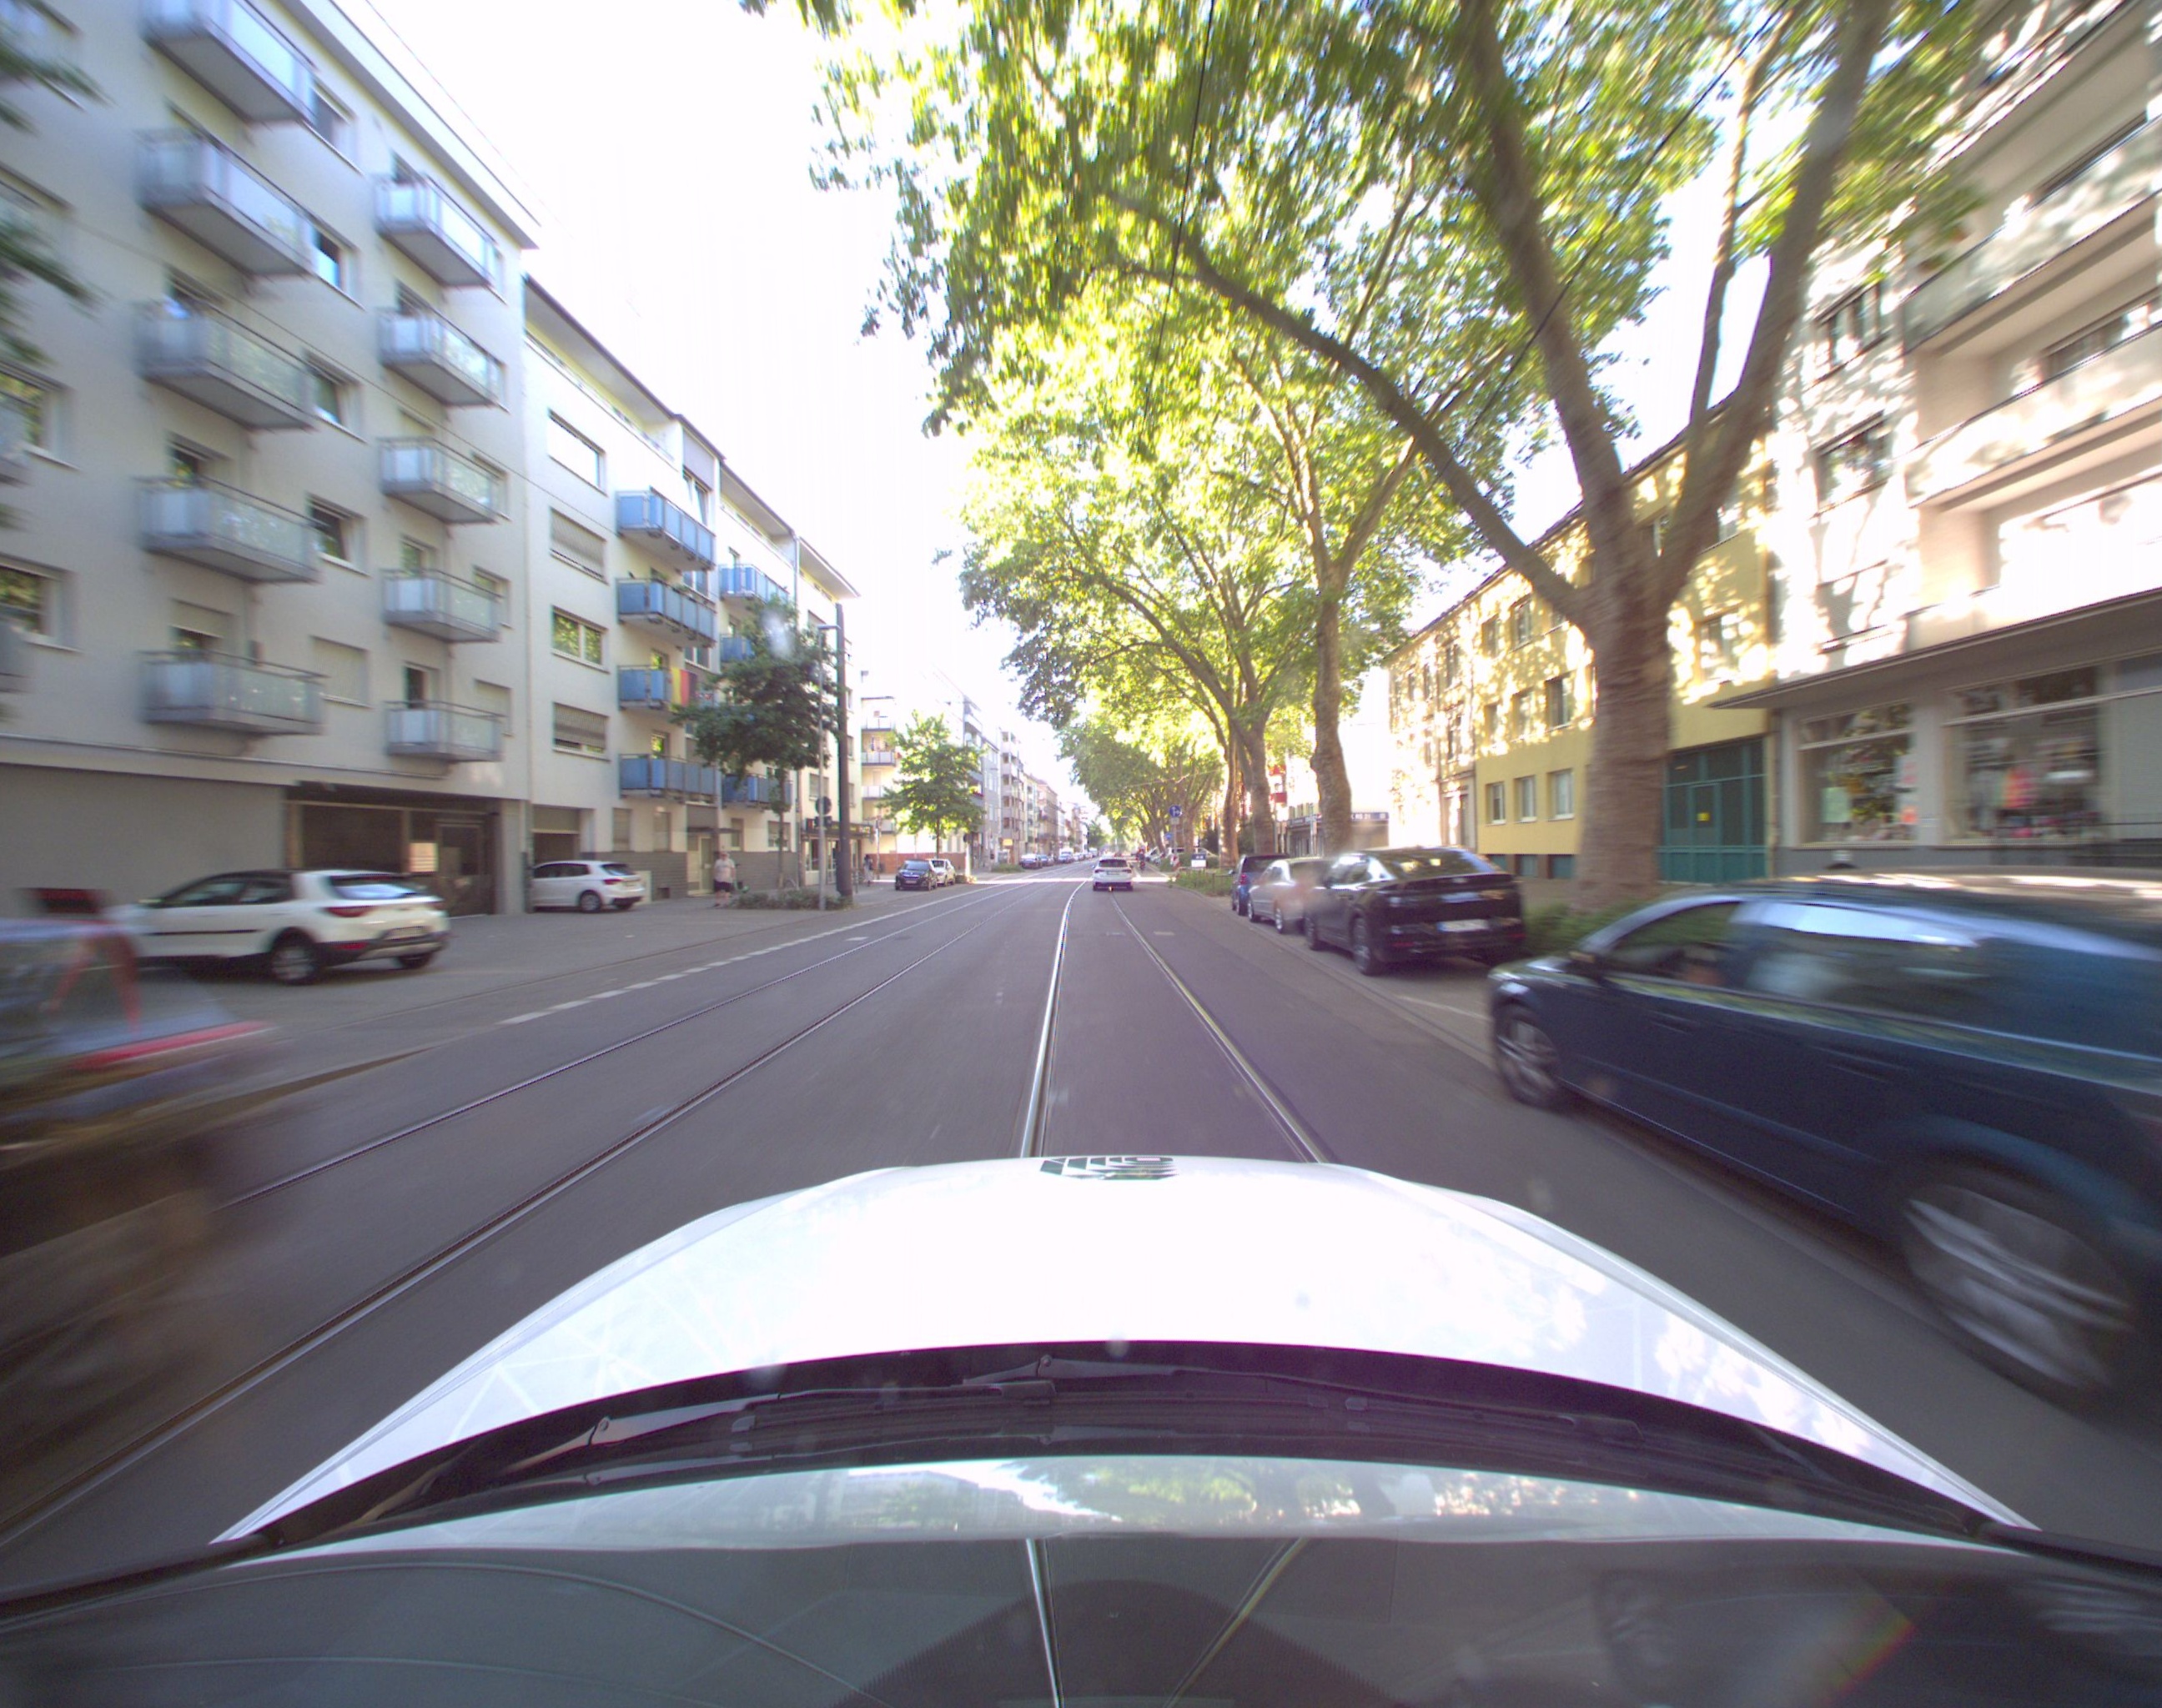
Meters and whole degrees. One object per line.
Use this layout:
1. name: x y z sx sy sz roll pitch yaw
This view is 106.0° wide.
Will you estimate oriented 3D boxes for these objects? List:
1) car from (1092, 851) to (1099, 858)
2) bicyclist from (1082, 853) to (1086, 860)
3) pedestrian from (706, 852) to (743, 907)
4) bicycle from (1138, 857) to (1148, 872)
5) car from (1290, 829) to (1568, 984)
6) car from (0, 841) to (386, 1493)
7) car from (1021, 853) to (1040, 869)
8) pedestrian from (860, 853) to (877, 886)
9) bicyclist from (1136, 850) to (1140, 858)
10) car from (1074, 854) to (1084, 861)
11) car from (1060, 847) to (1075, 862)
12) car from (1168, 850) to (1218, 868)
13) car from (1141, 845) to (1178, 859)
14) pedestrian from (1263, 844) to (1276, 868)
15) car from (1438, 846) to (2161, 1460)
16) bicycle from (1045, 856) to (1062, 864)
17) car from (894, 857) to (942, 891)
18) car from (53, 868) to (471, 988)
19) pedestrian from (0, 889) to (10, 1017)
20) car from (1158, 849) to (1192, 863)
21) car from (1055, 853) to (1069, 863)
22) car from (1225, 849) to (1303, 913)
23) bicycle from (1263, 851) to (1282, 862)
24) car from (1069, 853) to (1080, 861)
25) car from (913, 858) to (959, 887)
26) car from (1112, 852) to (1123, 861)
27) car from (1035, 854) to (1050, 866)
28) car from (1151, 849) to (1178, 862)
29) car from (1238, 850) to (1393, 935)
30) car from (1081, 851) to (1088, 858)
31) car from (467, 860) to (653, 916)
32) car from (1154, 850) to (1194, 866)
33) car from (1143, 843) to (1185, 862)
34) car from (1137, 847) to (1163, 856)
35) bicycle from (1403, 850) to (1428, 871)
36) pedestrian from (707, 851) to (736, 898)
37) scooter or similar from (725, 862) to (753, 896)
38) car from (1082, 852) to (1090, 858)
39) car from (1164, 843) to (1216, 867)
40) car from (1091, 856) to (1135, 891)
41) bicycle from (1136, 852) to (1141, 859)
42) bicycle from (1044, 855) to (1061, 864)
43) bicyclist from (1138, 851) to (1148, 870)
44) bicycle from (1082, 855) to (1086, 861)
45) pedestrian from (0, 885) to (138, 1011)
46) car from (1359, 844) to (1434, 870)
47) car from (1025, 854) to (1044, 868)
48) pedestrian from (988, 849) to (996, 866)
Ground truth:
1. car: 4.398 0.108 248.890 1.985 2.013 4.003 -1 0 3
2. bicyclist: 0.593 0.433 156.425 0.595 1.286 0.917 -2 0 0
3. pedestrian: -11.193 0.783 25.609 0.761 1.691 0.795 -1 0 1
4. bicycle: 4.762 0.783 62.586 0.678 1.071 1.782 -2 0 4
5. car: 4.392 0.606 11.253 1.851 1.603 4.783 -3 -1 1
6. car: -3.583 0.817 1.000 1.866 1.590 4.144 -3 0 -1
7. car: -5.485 0.754 88.472 1.696 1.650 4.243 1 0 1
8. pedestrian: -10.954 0.781 42.030 0.661 1.691 0.749 -1 0 1
9. bicyclist: 8.844 -0.010 126.144 0.647 1.344 0.934 -2 0 1
10. car: -0.484 0.703 179.358 1.985 1.530 4.003 -1 0 3
11. car: -2.374 0.122 145.092 2.169 2.597 4.953 -1 0 3
12. car: 10.016 0.431 73.284 4.281 1.479 1.831 -1 0 1
13. car: 13.580 -0.314 141.438 6.108 2.282 2.530 -1 0 1
14. pedestrian: 15.453 0.169 66.856 0.764 1.866 1.188 -2 0 -1
15. car: 3.529 0.722 3.750 1.859 1.437 4.225 -2 0 0
16. bicycle: -4.105 0.844 122.251 2.519 1.172 0.718 1 -2 -4
17. car: -7.831 0.932 39.401 1.710 1.464 3.994 2 0 -4
18. car: -11.112 0.954 11.261 3.995 1.475 1.853 0 0 3
19. pedestrian: -11.324 1.018 7.946 0.712 1.297 0.745 -2 0 -11
20. car: 11.315 0.239 97.975 3.972 1.680 1.724 -1 0 1
21. car: -3.051 0.636 133.375 1.985 1.530 4.003 -1 0 3
22. car: 4.738 0.677 21.411 1.556 1.519 2.914 -3 -1 5
23. bicycle: 19.494 0.261 82.880 1.786 1.041 0.617 -3 0 -2
24. car: -1.344 0.621 165.409 1.985 1.530 4.003 -1 0 3
25. car: -7.782 0.967 44.064 1.708 1.464 4.375 2 0 -1
26. car: 6.039 0.396 133.576 1.754 1.475 4.004 -2 0 3
27. car: -4.880 0.778 104.427 1.647 1.437 3.838 -1 0 1
28. car: 11.304 0.265 110.609 3.617 1.666 1.825 -1 0 5
29. car: 4.632 0.722 16.870 1.811 1.436 4.601 -3 -1 0
30. car: 1.075 0.166 246.552 1.985 2.013 4.003 -1 0 3
31. car: -14.585 0.928 22.957 3.999 1.475 1.851 0 0 0
32. car: 9.950 0.432 87.099 4.127 1.514 1.932 -1 0 1
33. car: 12.458 -0.222 122.835 6.108 2.635 2.530 -1 0 1
34. car: 17.107 -0.601 201.615 6.108 2.282 2.530 -1 0 1
35. bicycle: 18.122 0.346 44.181 0.580 1.104 1.924 -3 0 2
36. pedestrian: -13.198 0.755 29.912 0.661 1.691 0.749 -1 0 1
37. scooter or similar: -13.687 0.989 32.611 0.373 1.289 1.240 -3 0 10
38. car: 1.251 0.287 201.360 1.985 1.640 4.003 0 0 3
39. car: 10.133 0.103 75.862 4.528 2.076 2.001 -1 0 0
40. car: 1.387 0.796 35.673 1.755 1.384 4.002 -2 0 2
41. bicycle: 8.858 0.296 126.130 0.647 1.071 1.583 -2 0 1
42. bicycle: -4.215 0.842 121.372 2.544 1.172 0.873 2 -2 -37
43. bicyclist: 4.750 0.466 62.582 0.675 1.443 1.048 -2 0 4
44. bicycle: 0.598 0.793 156.356 0.603 1.071 1.583 -2 0 1
45. pedestrian: -11.527 1.027 9.197 0.712 1.297 0.908 -2 0 -11
46. car: 20.826 0.182 53.858 4.121 1.593 1.998 -1 0 -3
47. car: -5.291 0.782 93.580 1.695 1.544 4.245 1 0 3
48. pedestrian: -9.453 0.395 86.324 0.661 1.826 0.965 -1 0 1
